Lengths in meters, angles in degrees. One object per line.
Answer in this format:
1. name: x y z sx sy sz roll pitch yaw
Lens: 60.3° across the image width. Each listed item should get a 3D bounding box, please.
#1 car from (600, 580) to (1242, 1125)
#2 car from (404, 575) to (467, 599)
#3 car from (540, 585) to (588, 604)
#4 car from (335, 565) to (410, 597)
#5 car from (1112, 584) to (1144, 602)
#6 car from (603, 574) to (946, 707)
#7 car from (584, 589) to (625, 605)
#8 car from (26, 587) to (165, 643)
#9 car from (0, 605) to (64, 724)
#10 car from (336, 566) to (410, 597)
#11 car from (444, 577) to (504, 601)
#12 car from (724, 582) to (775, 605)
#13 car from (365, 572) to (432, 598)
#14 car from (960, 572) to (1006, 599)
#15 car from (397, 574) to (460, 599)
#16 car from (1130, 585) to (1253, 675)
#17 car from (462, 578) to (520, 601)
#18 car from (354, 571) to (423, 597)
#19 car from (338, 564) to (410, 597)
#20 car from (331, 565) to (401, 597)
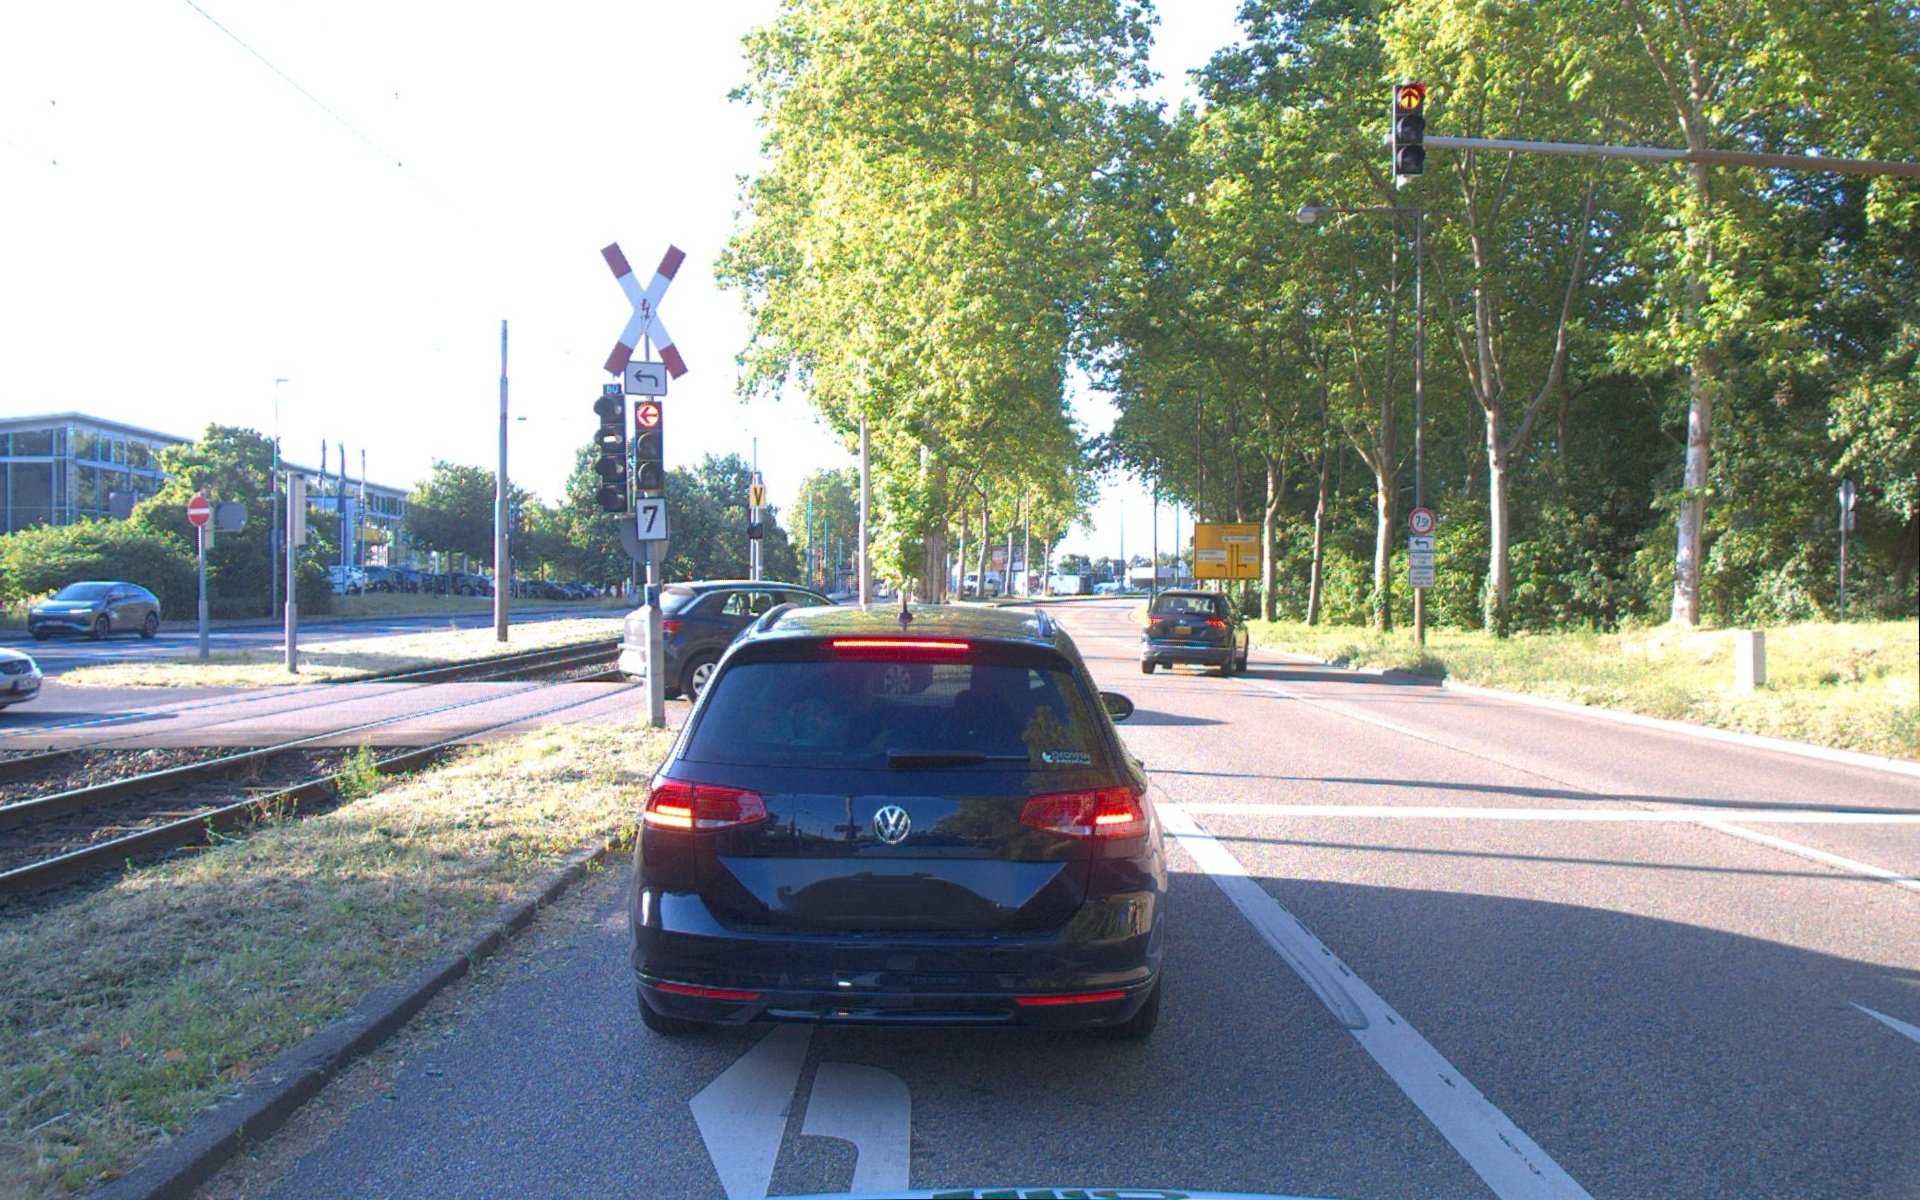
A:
1. car: -0.139 0.701 6.388 1.758 1.490 3.582 1 0 -1
2. car: -36.048 -0.863 113.794 3.913 1.583 1.740 1 0 -9
3. car: -35.530 -0.532 148.525 3.909 1.649 1.742 1 0 -6
4. car: -32.918 -1.043 92.709 3.930 1.734 1.732 1 0 -22
5. car: 19.969 -0.846 196.722 2.055 2.101 4.873 1 1 28
6. car: -2.389 0.508 21.443 4.101 1.588 1.699 1 0 -26
7. car: -35.979 -0.334 167.428 3.909 1.583 1.742 1 0 -5
8. car: -25.271 0.401 48.502 1.823 1.507 4.172 1 1 1
9. car: -12.784 0.739 19.155 3.891 1.317 1.613 0 0 -4
10. car: -33.701 -1.053 94.948 3.930 1.734 1.732 1 0 -22
11. car: -35.581 -0.806 121.248 3.909 1.649 1.742 1 0 -6
12. car: -14.443 -0.460 113.745 1.823 1.507 4.093 1 1 19
13. car: -35.551 -0.950 104.705 3.930 1.583 1.732 1 0 -22
14. car: 2.210 -1.372 155.577 2.054 2.504 5.847 1 1 26
15. car: -35.717 -0.884 111.099 3.930 1.583 1.732 1 0 -22
16. car: 4.709 0.562 33.156 1.832 1.663 4.373 0 0 16
17. car: -35.251 -0.765 124.465 3.909 1.649 1.742 1 0 -6
18. car: -35.210 -0.977 101.926 3.930 1.583 1.732 1 0 -22
19. car: -34.450 -1.116 97.273 3.930 1.848 1.732 1 0 -22
20. car: -35.557 -1.148 99.011 3.930 1.848 1.732 1 0 -22
